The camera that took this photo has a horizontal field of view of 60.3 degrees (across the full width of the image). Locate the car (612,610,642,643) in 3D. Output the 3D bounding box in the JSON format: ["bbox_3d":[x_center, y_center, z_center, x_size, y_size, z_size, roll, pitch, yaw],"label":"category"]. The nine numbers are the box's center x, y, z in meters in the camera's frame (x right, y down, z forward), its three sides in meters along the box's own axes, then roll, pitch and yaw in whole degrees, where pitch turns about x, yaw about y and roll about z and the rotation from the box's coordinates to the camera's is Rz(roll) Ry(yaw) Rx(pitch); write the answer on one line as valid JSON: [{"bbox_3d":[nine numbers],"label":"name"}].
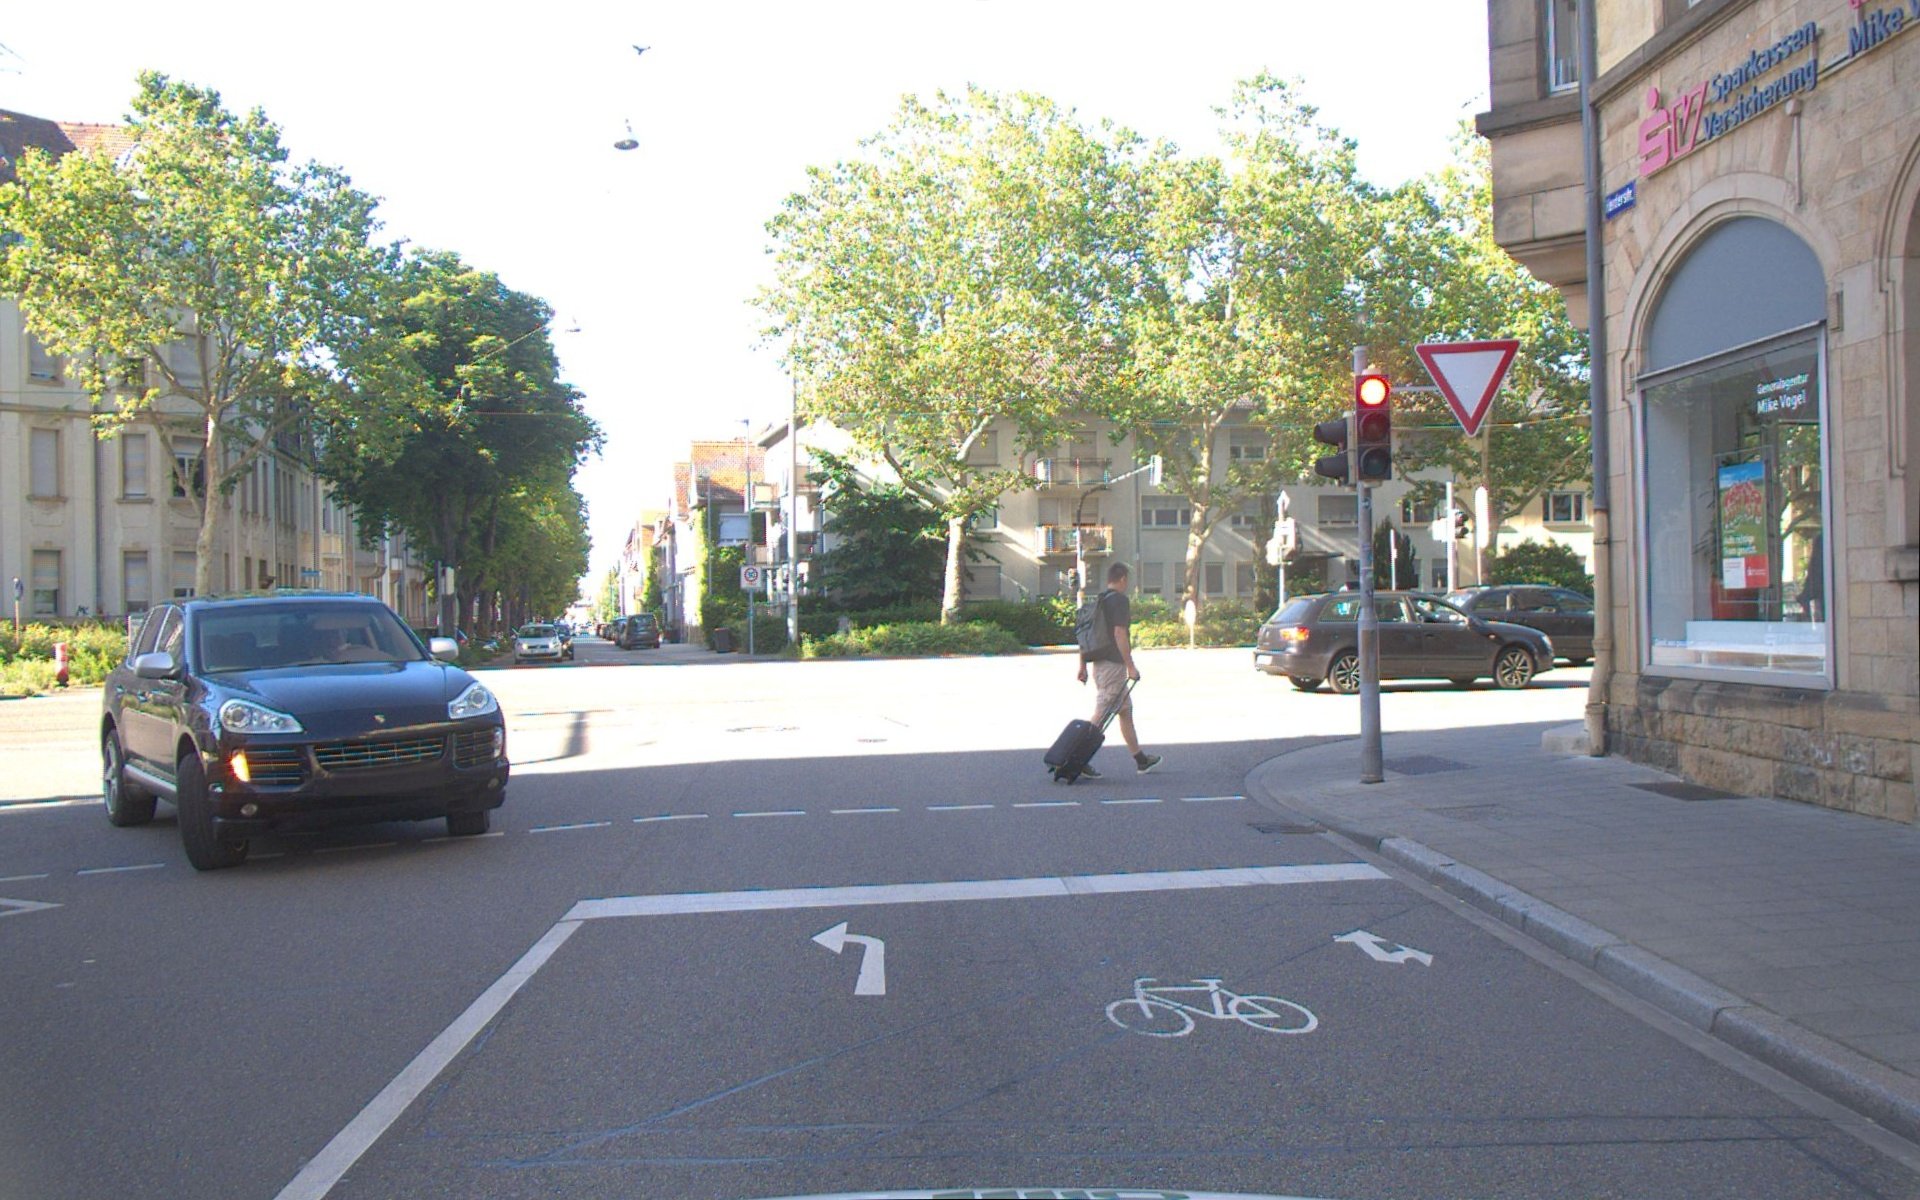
[{"bbox_3d":[-21.006,1.656,104.298,1.742,1.952,3.523,-3,0,-12],"label":"car"}]

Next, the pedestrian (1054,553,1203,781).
[{"bbox_3d":[1.434,0.547,14.153,1.050,1.881,0.744,0,0,-21],"label":"pedestrian"}]

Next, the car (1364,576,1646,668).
[{"bbox_3d":[9.902,0.374,30.159,4.539,1.482,1.974,-2,0,-14],"label":"car"}]

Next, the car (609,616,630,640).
[{"bbox_3d":[-30.034,2.453,145.944,1.742,1.952,3.523,-3,0,-12],"label":"car"}]

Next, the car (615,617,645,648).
[{"bbox_3d":[-23.026,2.248,115.397,1.958,2.049,3.988,1,0,-12],"label":"car"}]

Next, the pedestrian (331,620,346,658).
[{"bbox_3d":[-24.181,1.517,64.342,0.480,1.467,0.702,1,-1,-16],"label":"pedestrian"}]

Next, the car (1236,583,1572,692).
[{"bbox_3d":[6.559,0.528,24.610,4.533,1.482,1.726,-1,0,-10],"label":"car"}]

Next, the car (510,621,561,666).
[{"bbox_3d":[-16.166,1.637,63.085,1.669,1.509,3.523,-3,1,-12],"label":"car"}]

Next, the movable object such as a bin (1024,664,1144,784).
[{"bbox_3d":[1.014,1.008,13.592,0.847,0.907,0.508,-2,0,-13],"label":"movable object such as a bin"}]

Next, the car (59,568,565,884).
[{"bbox_3d":[-4.794,0.759,11.777,2.059,1.723,4.643,-3,0,-38],"label":"car"}]

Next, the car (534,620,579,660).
[{"bbox_3d":[-16.866,1.655,69.306,1.669,1.509,3.523,-3,1,-12],"label":"car"}]

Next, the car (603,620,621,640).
[{"bbox_3d":[-37.920,3.258,180.194,1.742,1.952,3.523,-3,0,-12],"label":"car"}]

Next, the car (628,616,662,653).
[{"bbox_3d":[-17.973,1.919,94.225,1.742,1.952,3.523,-3,0,-12],"label":"car"}]

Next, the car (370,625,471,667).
[{"bbox_3d":[-20.446,1.737,62.814,3.572,1.483,1.650,-1,0,-16],"label":"car"}]

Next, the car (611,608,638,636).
[{"bbox_3d":[-25.830,1.697,127.325,1.958,2.049,3.988,1,0,-12],"label":"car"}]
